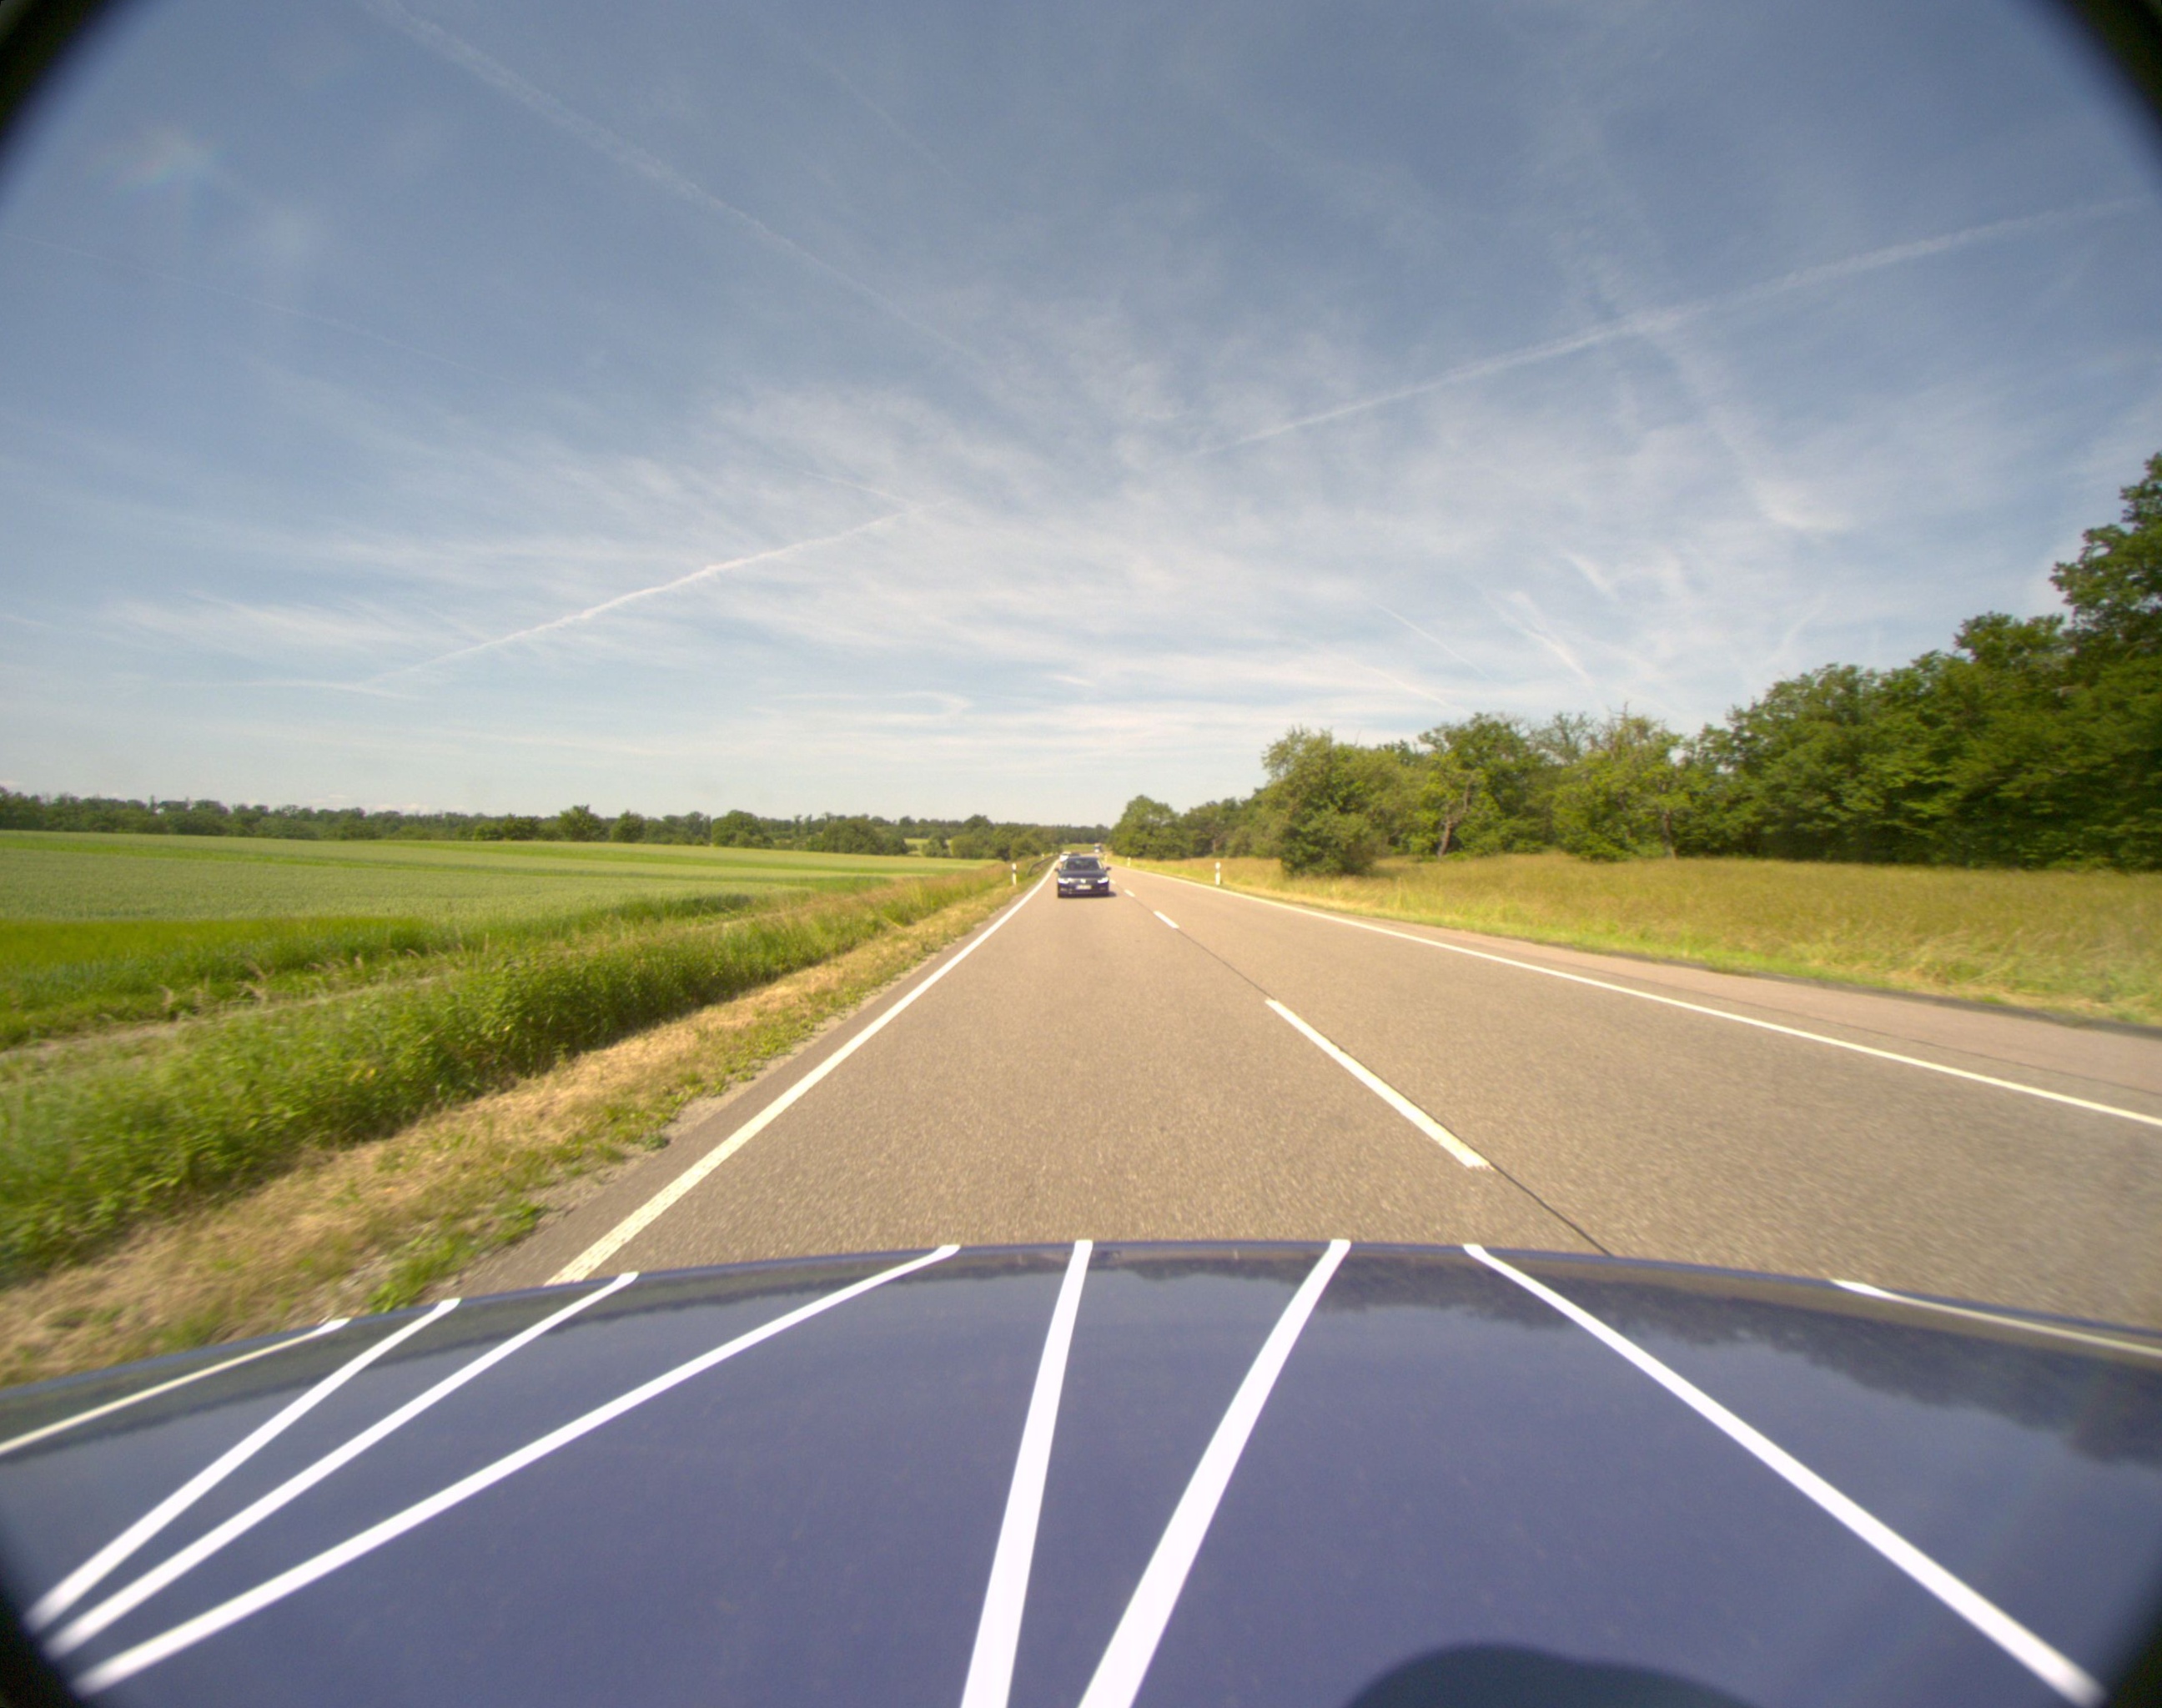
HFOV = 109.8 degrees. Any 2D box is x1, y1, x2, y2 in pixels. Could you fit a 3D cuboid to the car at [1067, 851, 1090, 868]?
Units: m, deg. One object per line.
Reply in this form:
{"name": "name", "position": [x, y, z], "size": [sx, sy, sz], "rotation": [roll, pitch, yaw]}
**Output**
{"name": "car", "position": [-0.306, 0.503, 72.167], "size": [1.929, 1.501, 4.290], "rotation": [0, 0, -4]}

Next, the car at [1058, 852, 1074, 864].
{"name": "car", "position": [-2.062, 0.556, 103.120], "size": [1.929, 1.501, 4.290], "rotation": [1, 0, -4]}

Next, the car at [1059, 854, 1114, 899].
{"name": "car", "position": [0.134, 0.774, 28.266], "size": [1.822, 1.501, 4.499], "rotation": [-1, 0, -2]}
